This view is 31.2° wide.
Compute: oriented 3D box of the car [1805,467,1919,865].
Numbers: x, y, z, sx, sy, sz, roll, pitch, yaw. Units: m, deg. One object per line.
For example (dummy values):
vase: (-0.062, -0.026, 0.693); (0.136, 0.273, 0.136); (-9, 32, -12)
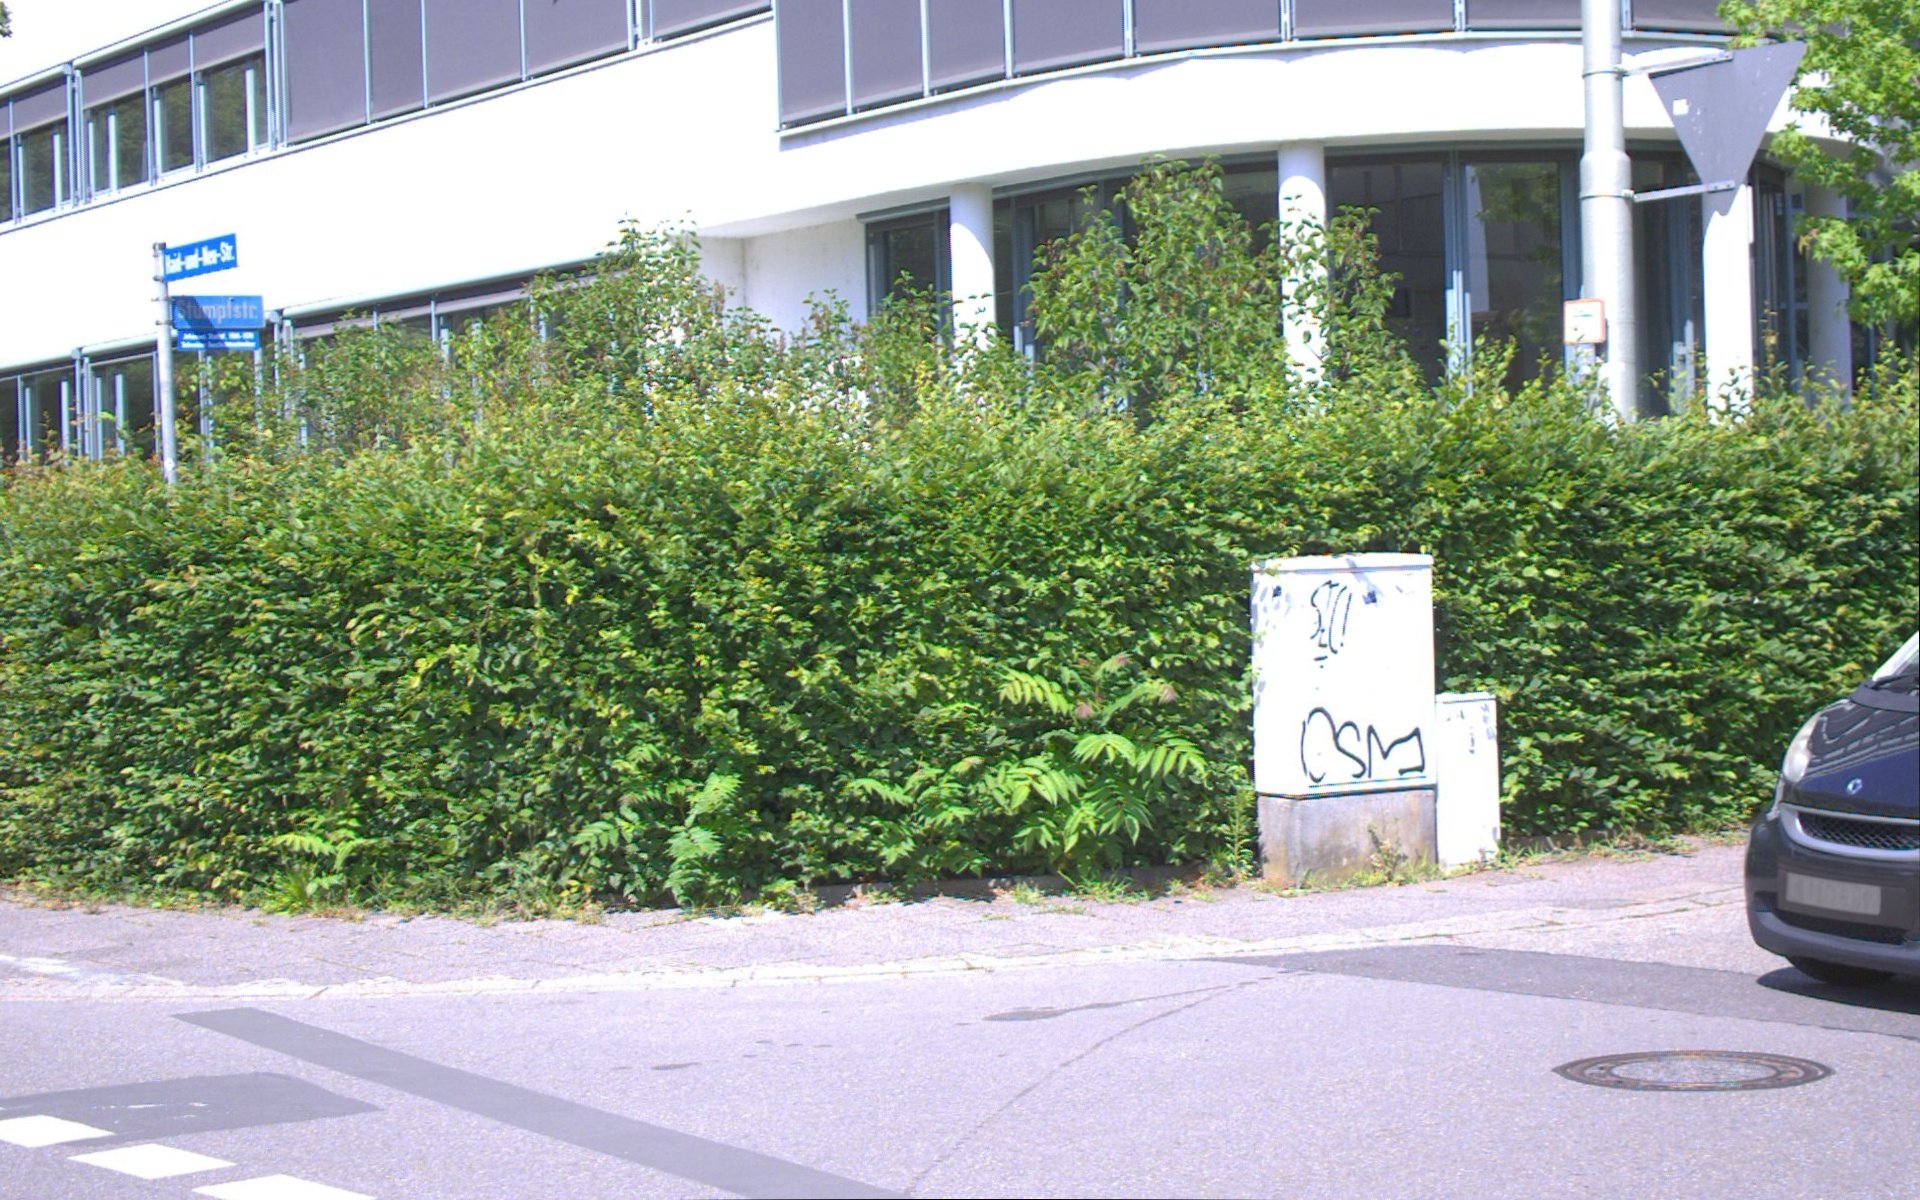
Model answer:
car: (5.320, 0.185, 13.972); (3.685, 1.522, 1.704); (-3, 1, -38)

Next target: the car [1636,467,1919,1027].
car: (3.786, 0.335, 10.526); (2.966, 1.533, 1.479); (-3, 1, -18)
